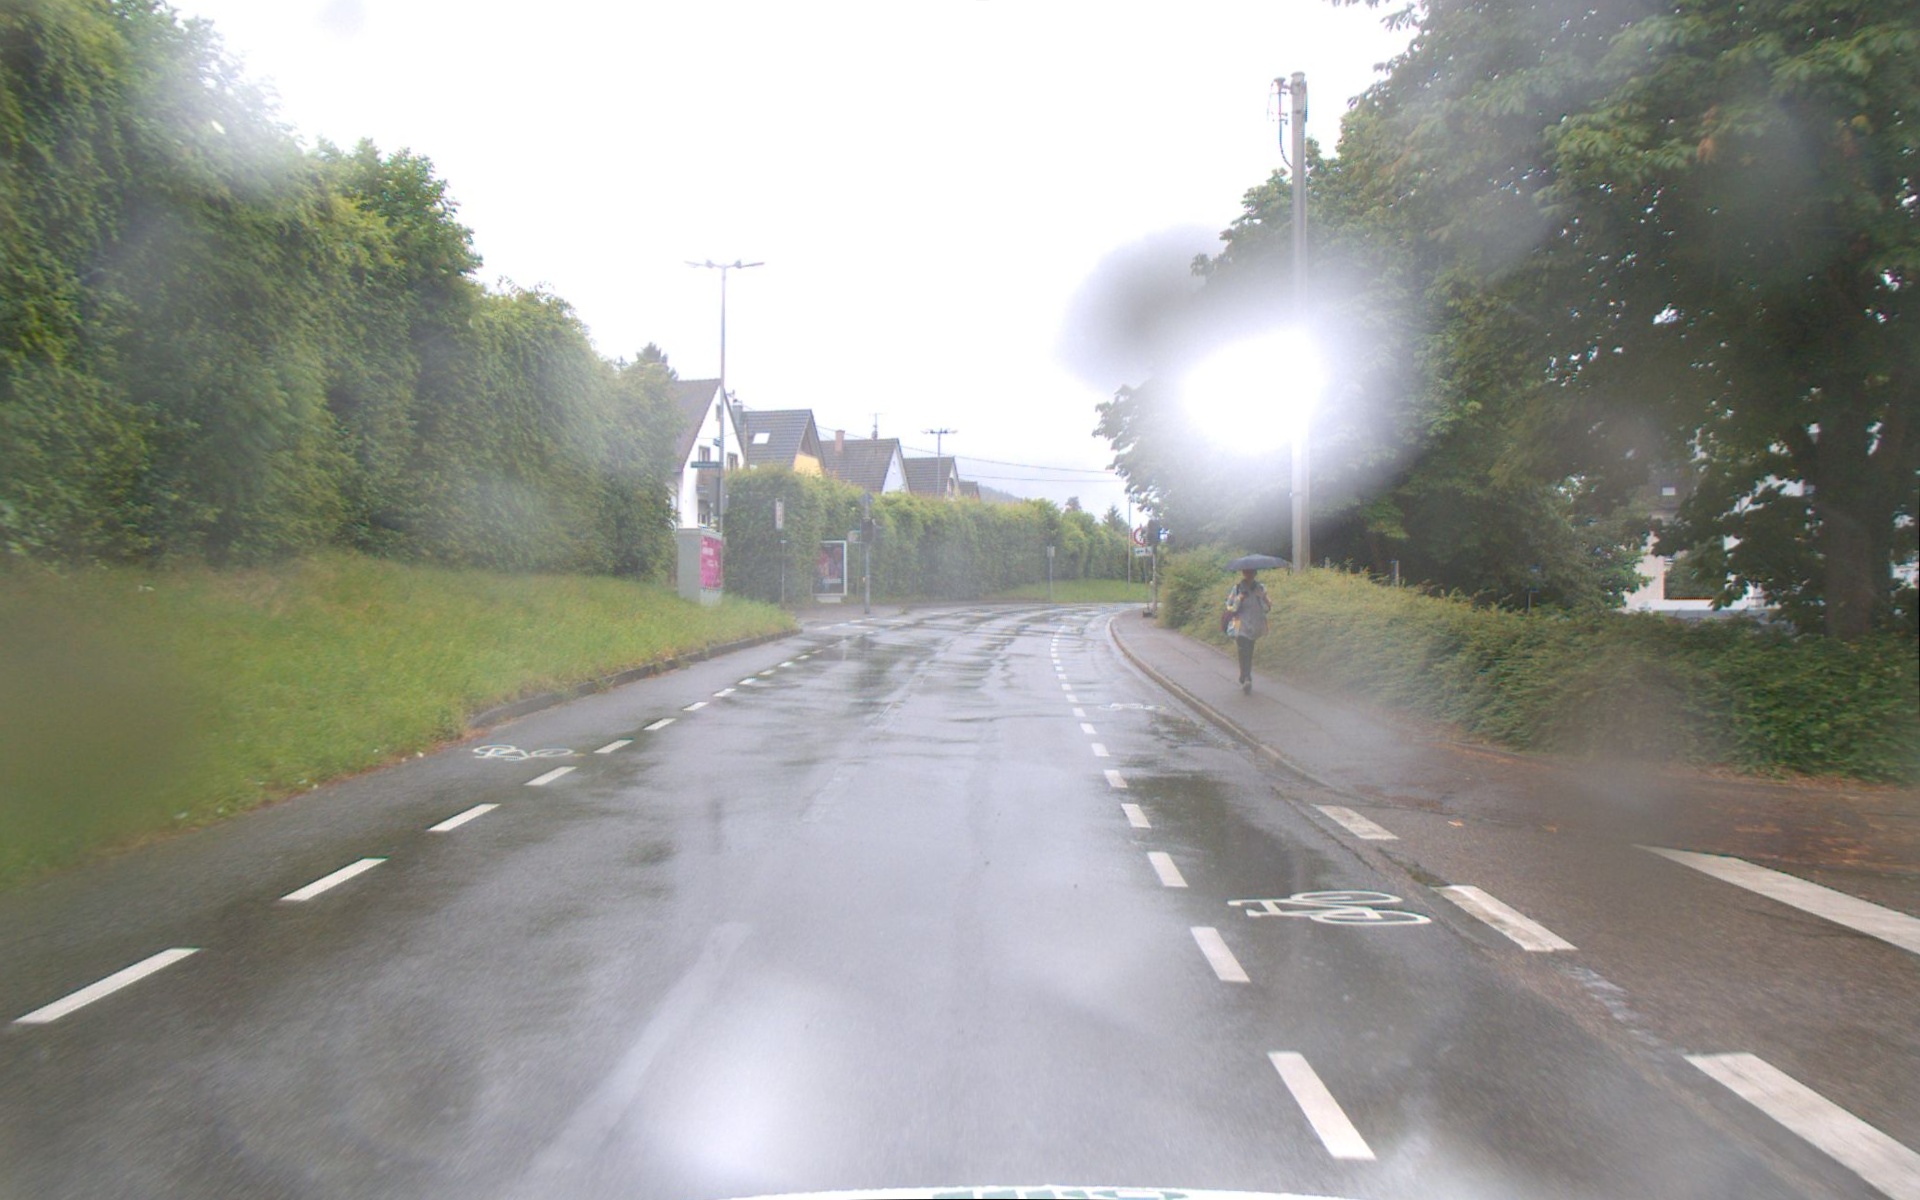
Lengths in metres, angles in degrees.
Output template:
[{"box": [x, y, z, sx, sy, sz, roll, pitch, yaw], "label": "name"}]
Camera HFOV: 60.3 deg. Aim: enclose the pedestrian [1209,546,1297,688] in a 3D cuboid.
[{"box": [3.622, 0.202, 20.541, 0.901, 1.704, 1.057, -1, 0, 2], "label": "pedestrian"}]
